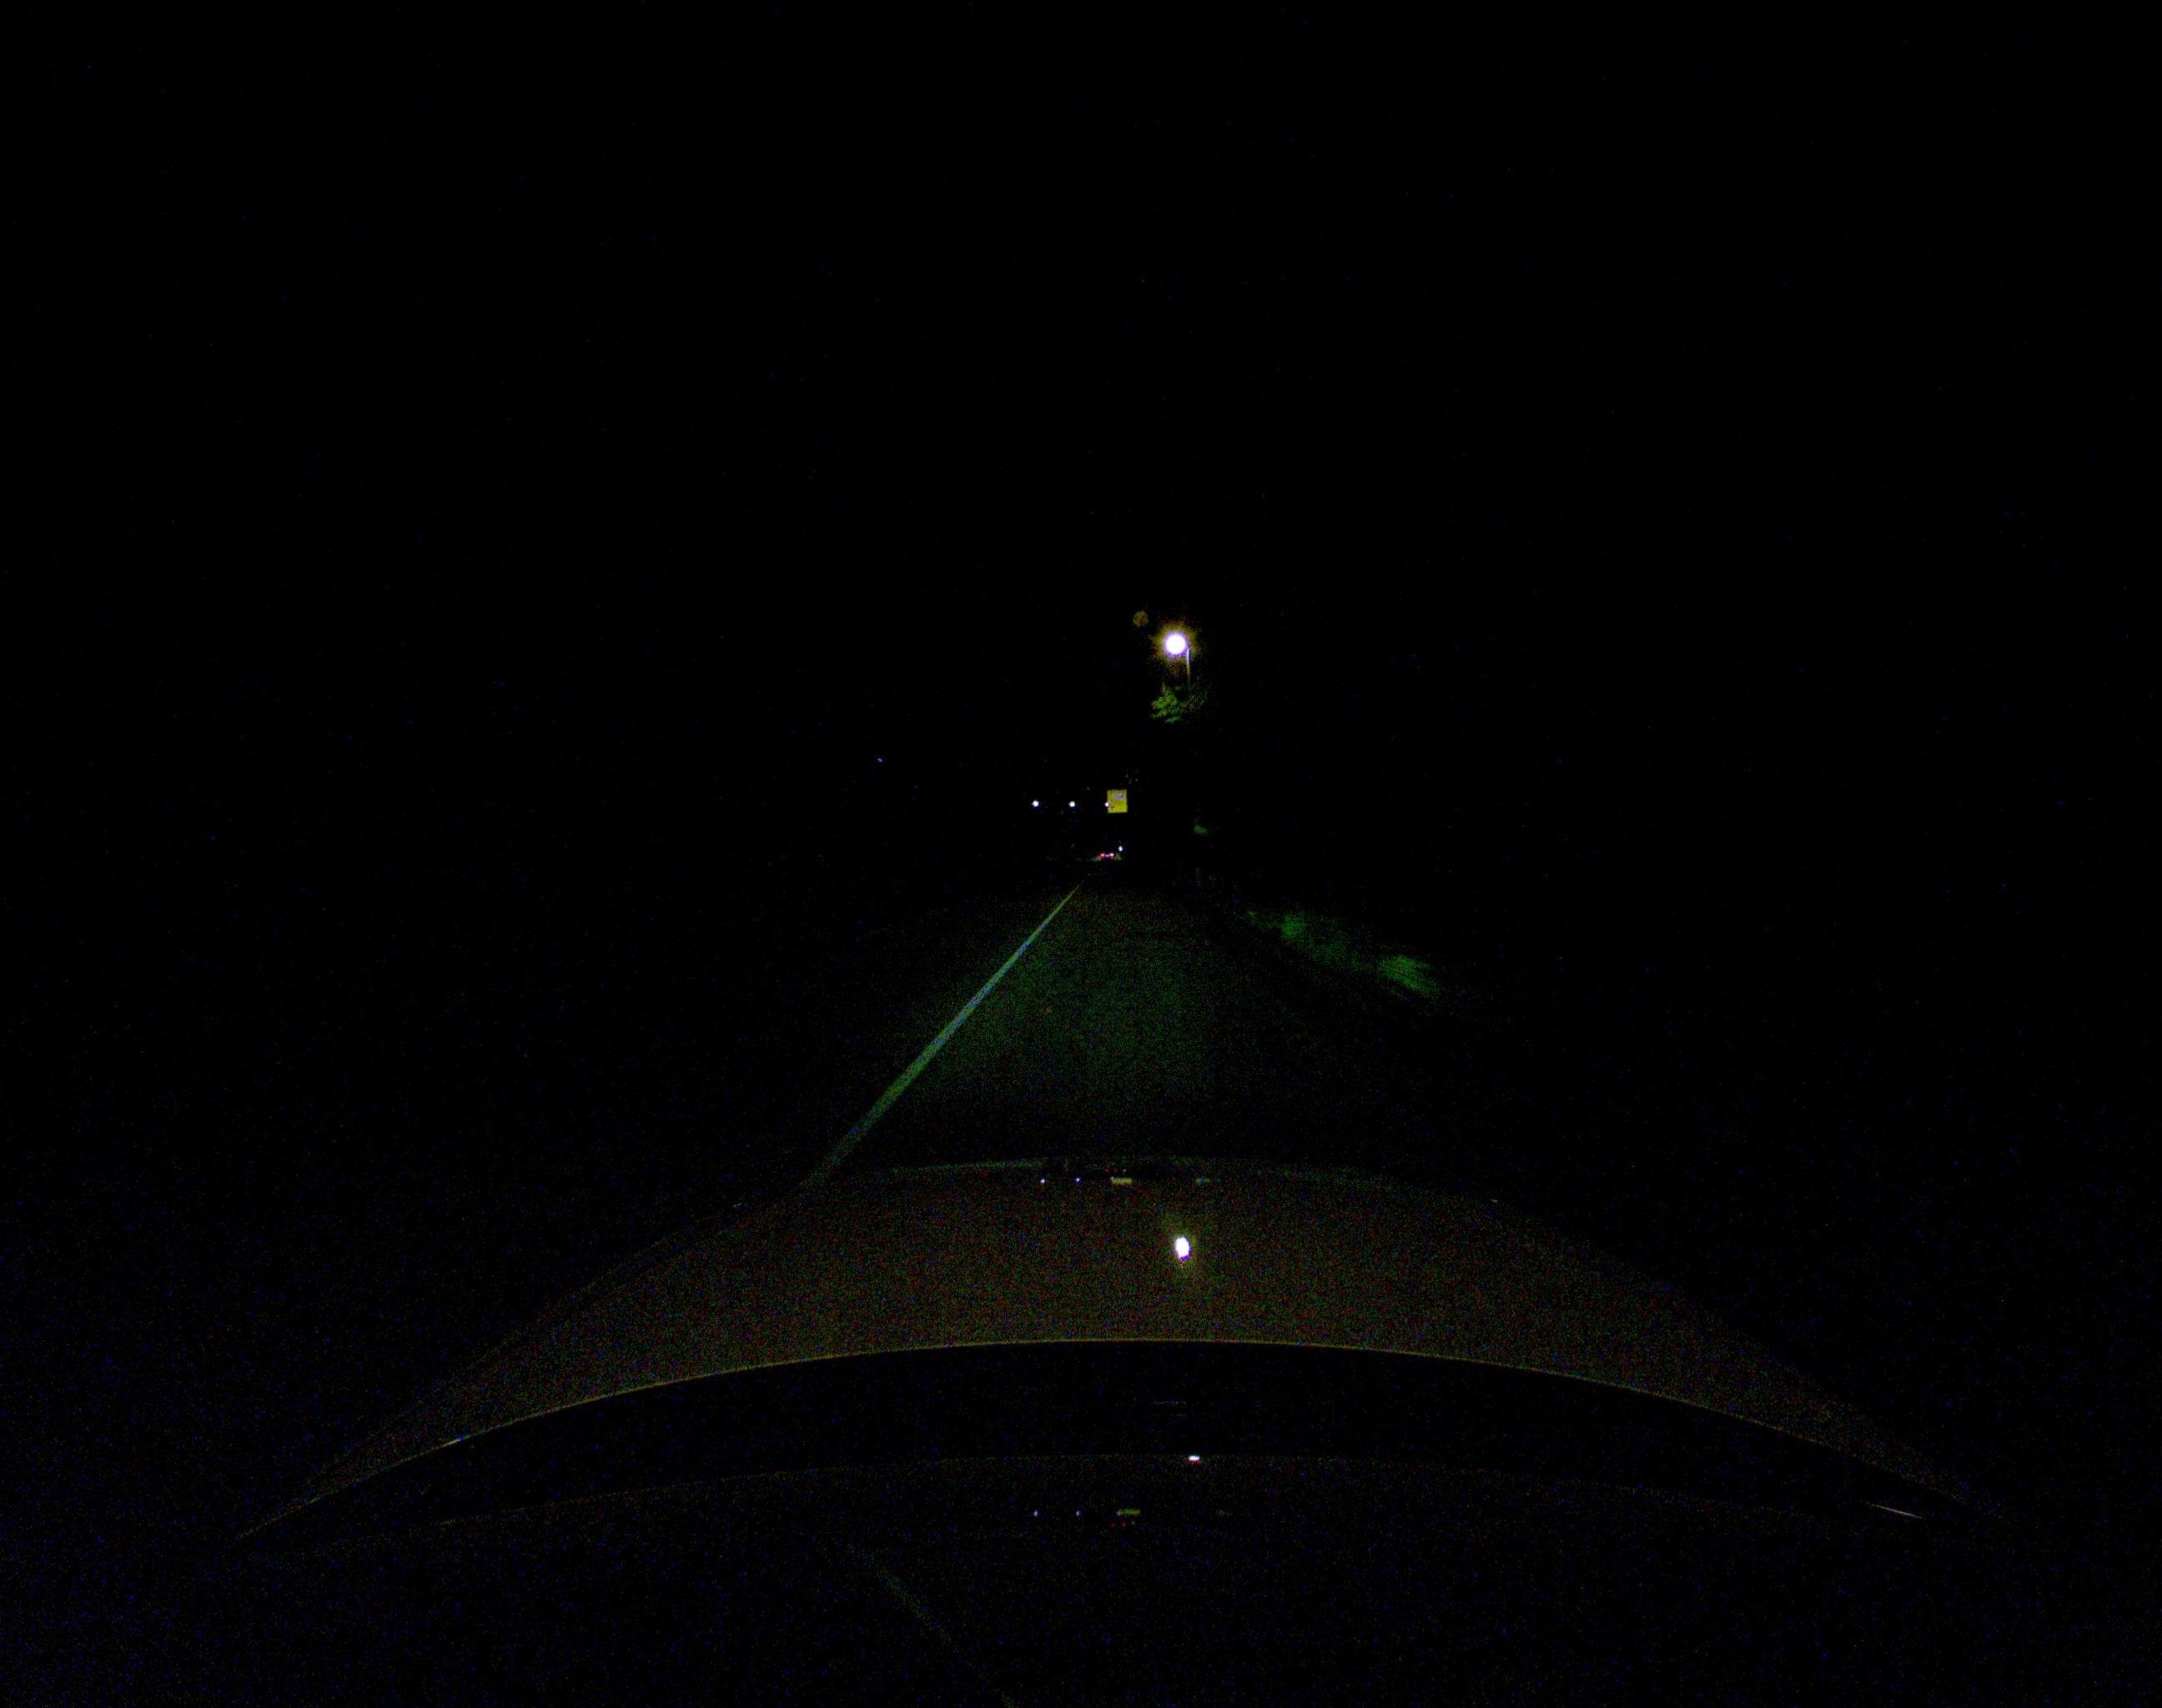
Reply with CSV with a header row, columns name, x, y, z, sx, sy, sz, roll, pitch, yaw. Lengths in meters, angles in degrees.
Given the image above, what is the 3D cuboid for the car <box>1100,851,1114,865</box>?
name,x,y,z,sx,sy,sz,roll,pitch,yaw
car,3.751,0.586,116.581,1.911,2.014,4.124,0,-1,2
